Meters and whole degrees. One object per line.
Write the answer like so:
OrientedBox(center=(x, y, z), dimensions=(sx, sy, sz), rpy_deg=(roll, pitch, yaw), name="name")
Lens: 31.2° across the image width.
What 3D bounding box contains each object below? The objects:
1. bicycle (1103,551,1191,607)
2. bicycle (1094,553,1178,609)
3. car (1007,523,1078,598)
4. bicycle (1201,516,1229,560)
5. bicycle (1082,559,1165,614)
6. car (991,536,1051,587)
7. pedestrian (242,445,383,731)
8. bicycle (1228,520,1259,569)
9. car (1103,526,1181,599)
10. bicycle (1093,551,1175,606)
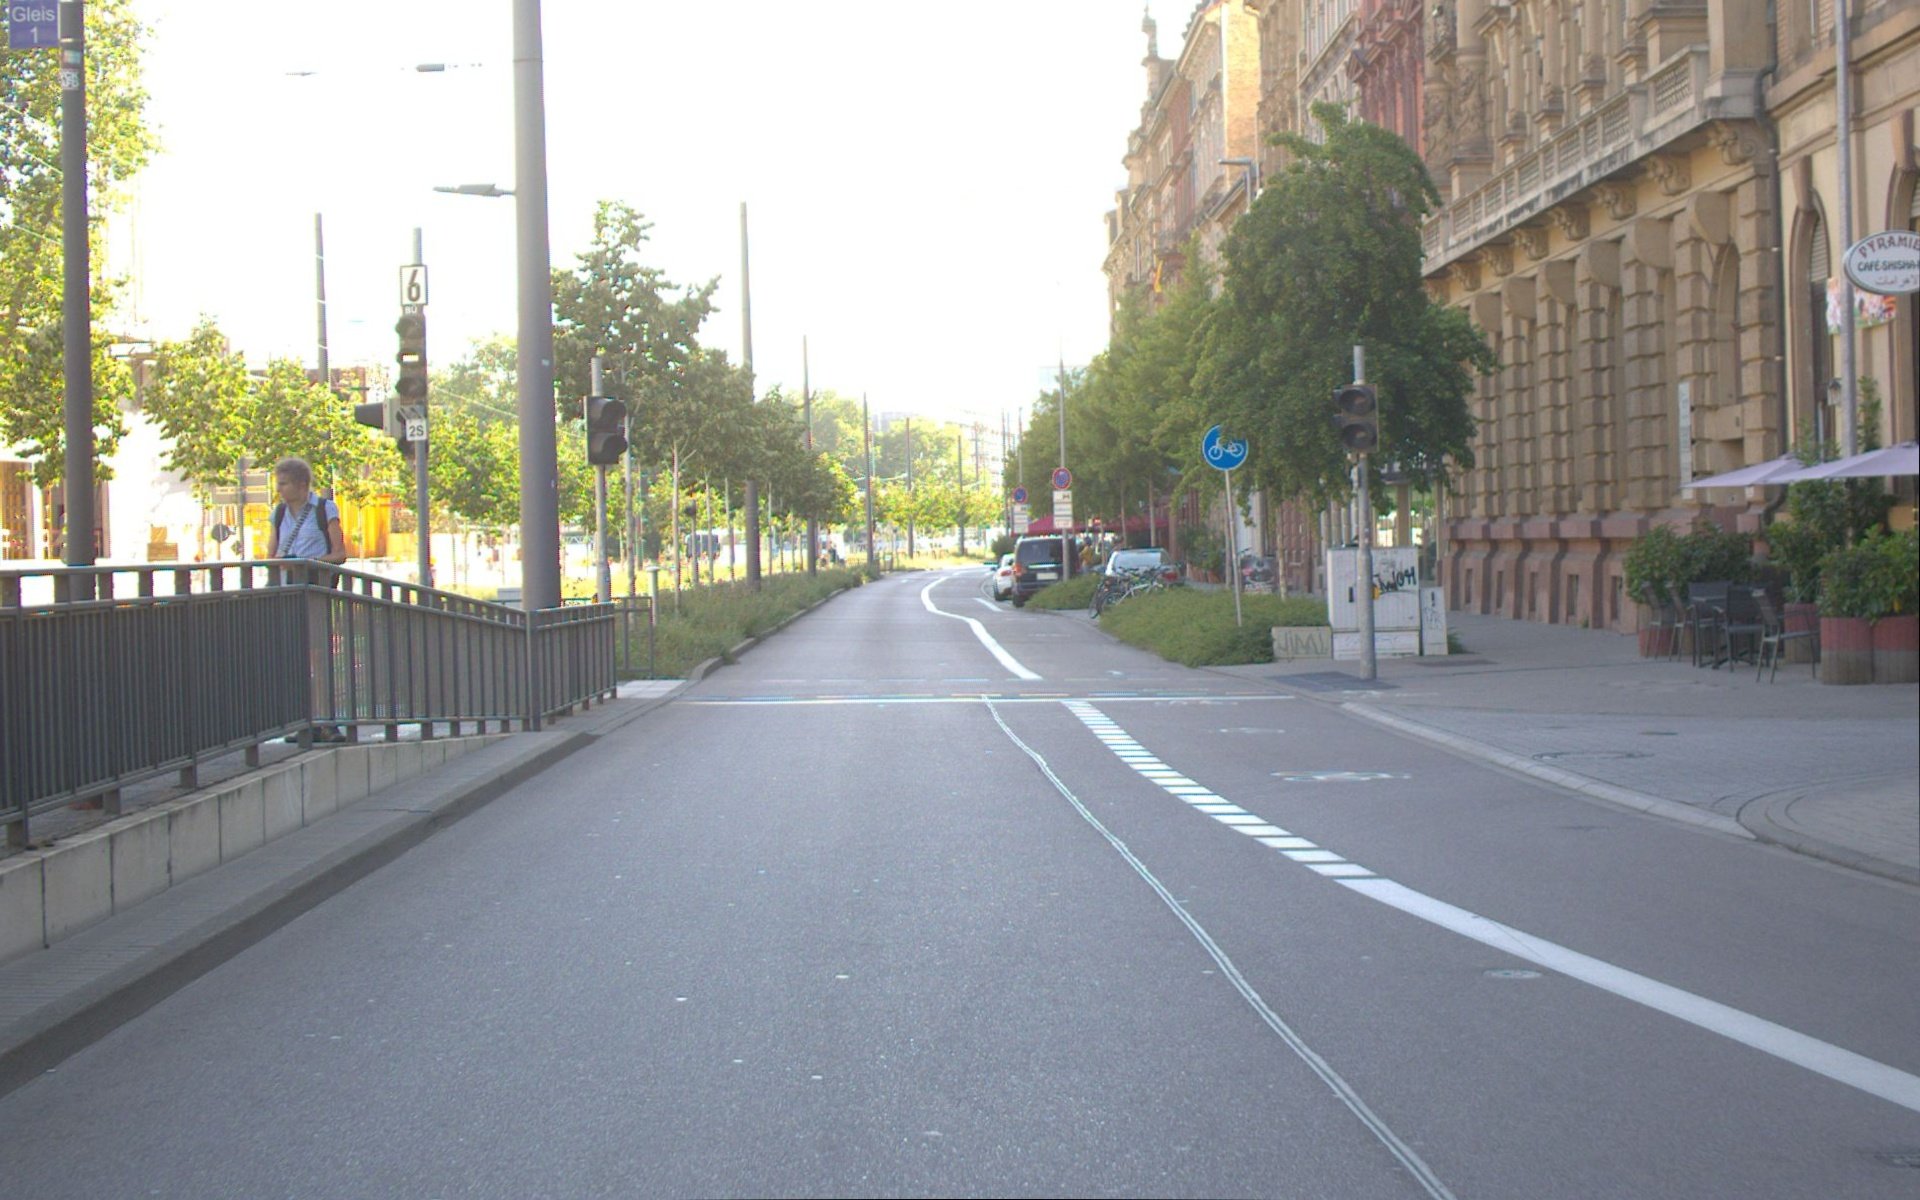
OrientedBox(center=(3.866, -0.440, 71.055), dimensions=(1.691, 1.044, 0.489), rpy_deg=(-3, 1, -8), name="bicycle")
OrientedBox(center=(3.566, -0.387, 69.763), dimensions=(1.576, 1.044, 0.489), rpy_deg=(-3, 1, -8), name="bicycle")
OrientedBox(center=(2.285, -1.137, 96.173), dimensions=(1.885, 1.930, 4.473), rpy_deg=(-2, 2, 1), name="car")
OrientedBox(center=(8.465, -2.053, 114.145), dimensions=(0.661, 1.397, 2.352), rpy_deg=(-2, 2, -1), name="bicycle")
OrientedBox(center=(3.520, -0.298, 74.059), dimensions=(1.691, 1.044, 0.489), rpy_deg=(-5, 1, 0), name="bicycle")
OrientedBox(center=(1.926, -1.245, 109.345), dimensions=(1.849, 1.452, 4.156), rpy_deg=(-2, 2, 1), name="car")
OrientedBox(center=(-3.795, -0.068, 20.204), dimensions=(0.655, 1.637, 0.867), rpy_deg=(-1, 0, -1), name="pedestrian")
OrientedBox(center=(8.473, -1.657, 102.771), dimensions=(0.661, 1.397, 2.352), rpy_deg=(-2, 2, -1), name="bicycle")
OrientedBox(center=(4.181, -0.889, 79.395), dimensions=(1.637, 1.481, 4.212), rpy_deg=(-3, 2, 2), name="car")
OrientedBox(center=(3.623, -0.452, 71.590), dimensions=(1.576, 1.044, 0.489), rpy_deg=(-3, 1, -8), name="bicycle")
